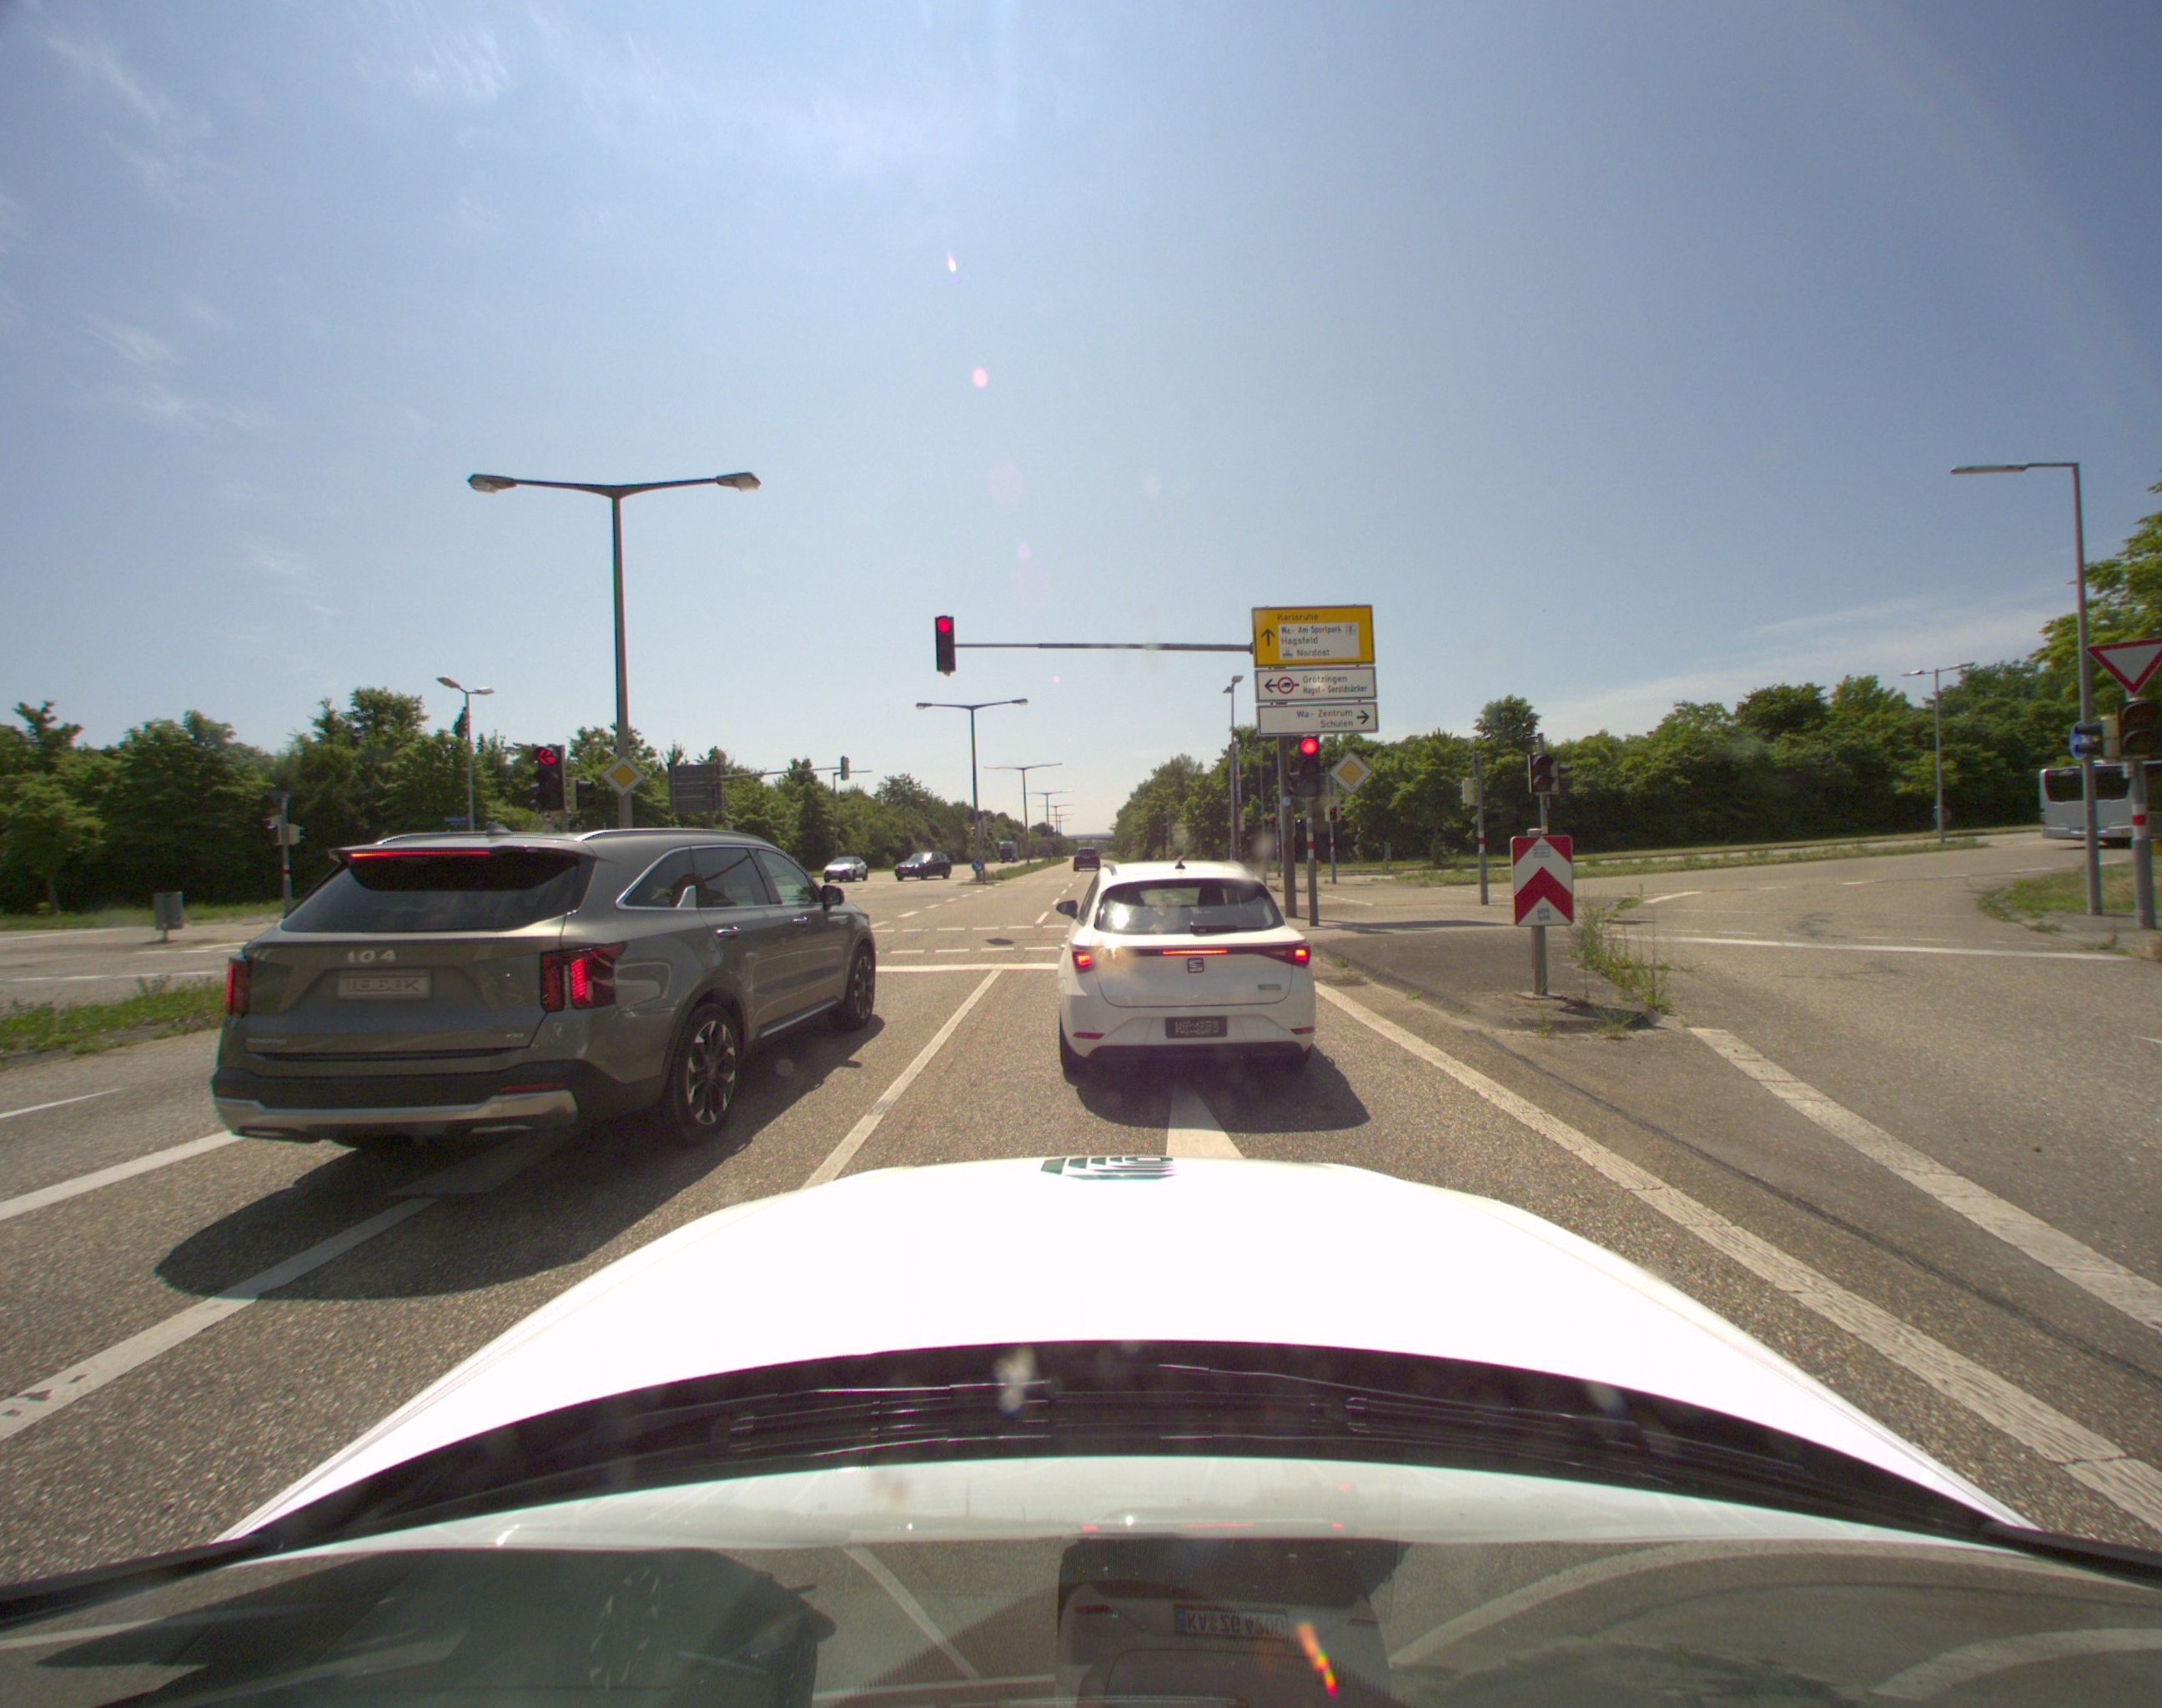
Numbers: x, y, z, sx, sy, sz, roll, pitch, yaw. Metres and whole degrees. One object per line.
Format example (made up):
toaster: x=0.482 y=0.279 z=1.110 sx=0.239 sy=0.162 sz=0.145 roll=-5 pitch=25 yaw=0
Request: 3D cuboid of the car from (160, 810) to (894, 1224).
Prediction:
car: x=-2.839 y=0.678 z=5.698 sx=1.797 sy=1.662 sz=4.646 roll=-2 pitch=0 yaw=2

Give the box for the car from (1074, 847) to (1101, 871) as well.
car: x=0.537 y=0.372 z=64.054 sx=1.847 sy=1.709 sz=4.004 roll=-2 pitch=0 yaw=4

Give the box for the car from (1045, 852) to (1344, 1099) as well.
car: x=0.718 y=0.723 z=6.596 sx=1.728 sy=1.428 sz=3.696 roll=0 pitch=-1 yaw=2

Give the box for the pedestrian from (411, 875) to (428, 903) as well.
pedestrian: x=-36.657 y=1.945 z=45.134 sx=0.620 sy=1.503 sz=0.790 roll=-2 pitch=0 yaw=-34

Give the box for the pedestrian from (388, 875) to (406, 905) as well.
pedestrian: x=-37.511 y=1.978 z=44.658 sx=0.620 sy=1.603 sz=0.790 roll=-2 pitch=0 yaw=-34

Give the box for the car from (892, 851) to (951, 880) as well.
car: x=-9.839 y=0.692 z=50.569 sx=1.693 sy=1.663 sz=4.242 roll=-2 pitch=0 yaw=17

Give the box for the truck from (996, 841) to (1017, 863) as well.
truck: x=-12.654 y=-0.331 z=138.801 sx=2.677 sy=3.570 sz=7.269 roll=-2 pitch=0 yaw=1

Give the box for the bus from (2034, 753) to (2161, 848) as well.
bus: x=40.228 y=-1.969 z=29.080 sx=12.050 sy=3.086 sz=2.620 roll=-2 pitch=0 yaw=-12

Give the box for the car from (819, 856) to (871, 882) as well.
car: x=-14.704 y=0.921 z=50.962 sx=1.815 sy=1.455 sz=4.171 roll=-2 pitch=0 yaw=2
